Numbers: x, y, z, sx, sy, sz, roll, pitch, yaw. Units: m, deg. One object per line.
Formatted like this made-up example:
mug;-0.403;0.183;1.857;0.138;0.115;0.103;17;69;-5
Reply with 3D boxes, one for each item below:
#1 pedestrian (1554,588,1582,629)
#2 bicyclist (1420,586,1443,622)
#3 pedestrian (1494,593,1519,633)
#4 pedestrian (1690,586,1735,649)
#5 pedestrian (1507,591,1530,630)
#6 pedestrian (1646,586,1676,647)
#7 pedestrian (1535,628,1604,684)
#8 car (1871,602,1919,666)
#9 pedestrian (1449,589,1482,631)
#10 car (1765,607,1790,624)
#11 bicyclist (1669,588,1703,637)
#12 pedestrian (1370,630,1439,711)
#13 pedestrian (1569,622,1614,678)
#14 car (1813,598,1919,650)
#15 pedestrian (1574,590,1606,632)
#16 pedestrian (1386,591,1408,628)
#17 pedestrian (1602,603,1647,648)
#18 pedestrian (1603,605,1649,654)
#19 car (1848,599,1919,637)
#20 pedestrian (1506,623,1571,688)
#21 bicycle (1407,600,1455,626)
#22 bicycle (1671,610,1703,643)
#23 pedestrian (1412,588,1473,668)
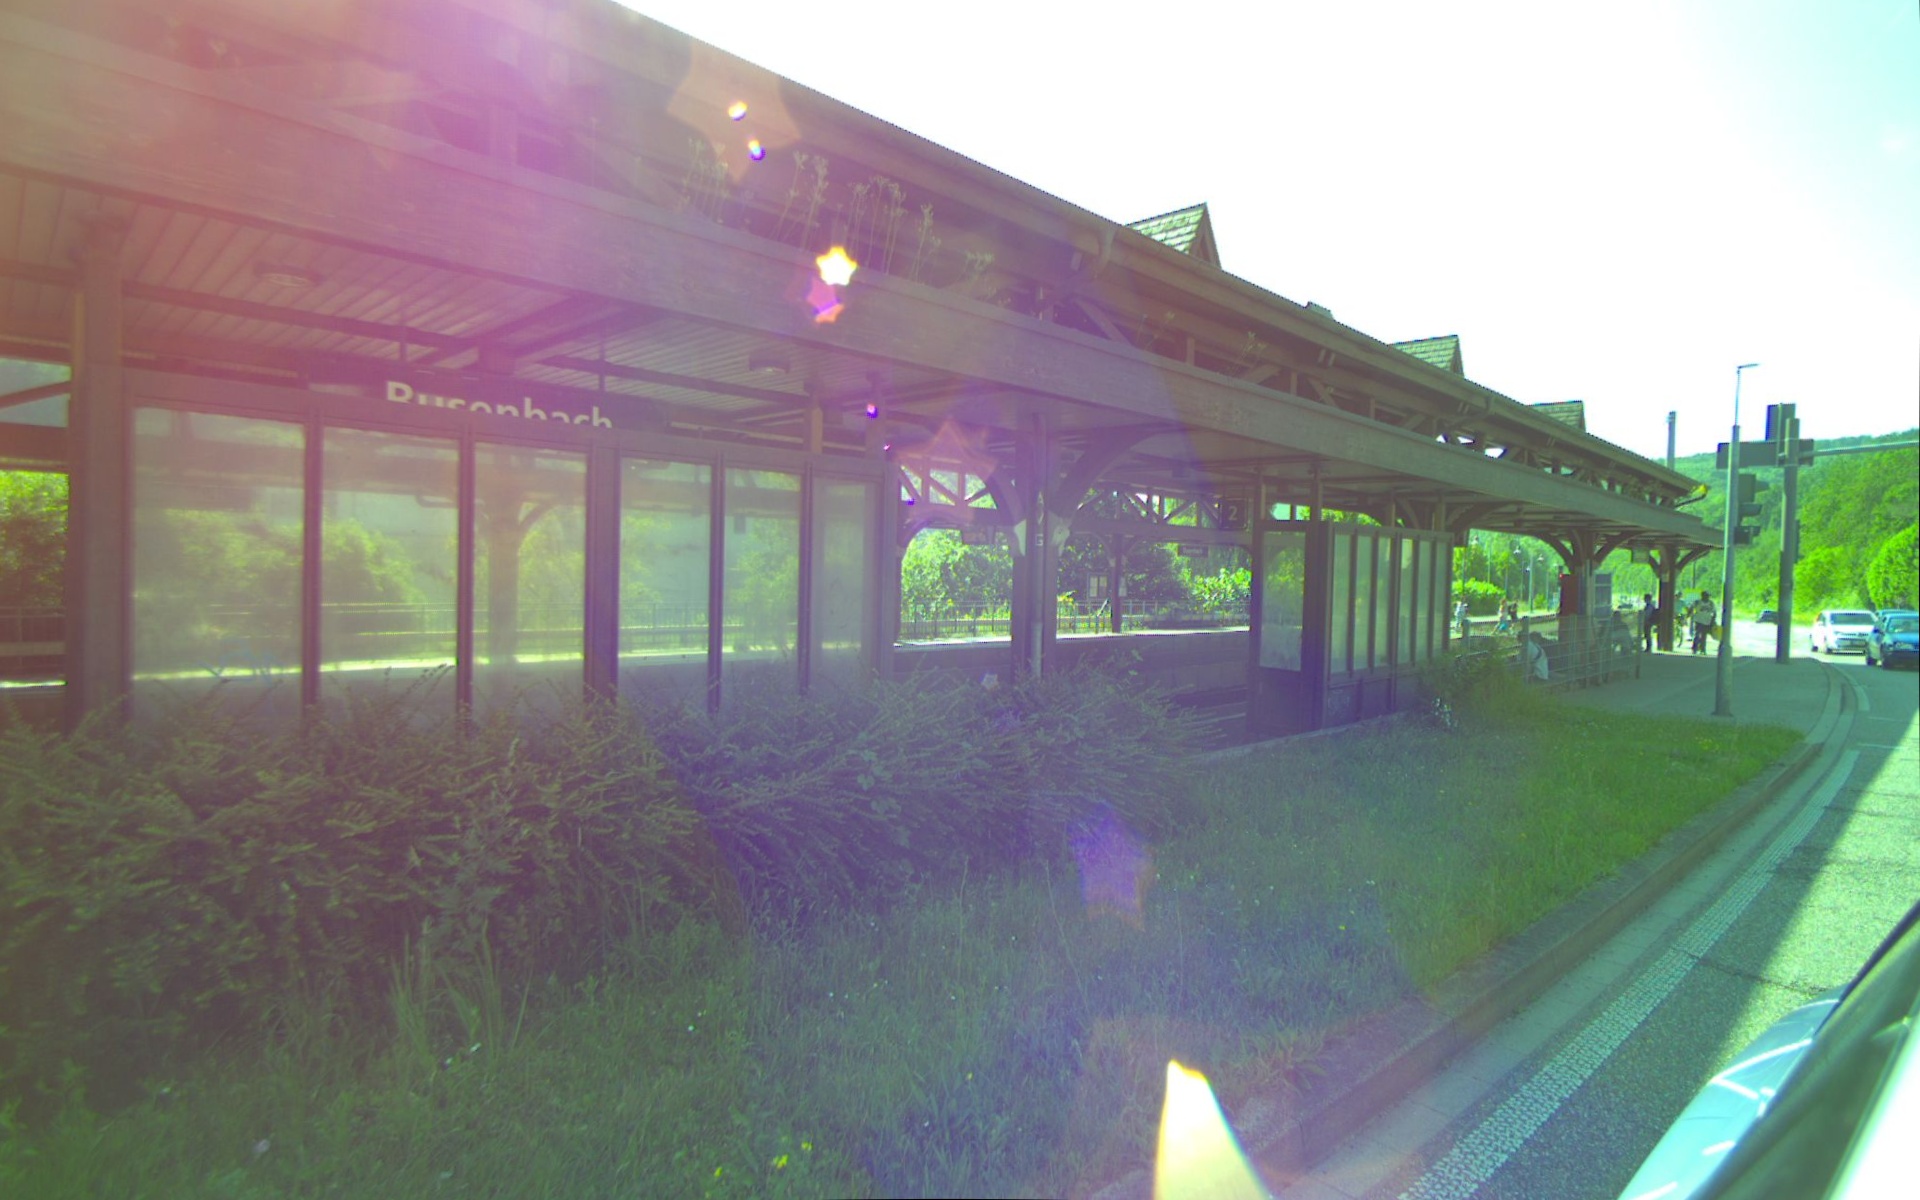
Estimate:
pedestrian;26.108;0.373;43.458;0.864;1.706;0.810;-1;-2;42
bicyclist;22.258;0.187;47.804;0.893;1.706;0.816;0;-2;22
pedestrian;23.892;0.573;44.277;0.894;1.706;0.815;0;-2;26
pedestrian;21.668;0.517;29.149;0.913;1.759;1.232;-1;-2;42
pedestrian;24.999;0.482;45.301;0.669;1.706;0.560;1;-2;-20
pedestrian;20.165;0.469;29.120;0.655;1.713;0.730;1;1;35
pedestrian;10.129;0.916;16.821;0.844;0.885;0.795;-1;-2;42
car;24.758;0.839;25.701;1.854;1.501;4.248;2;1;35
pedestrian;22.922;0.453;45.891;1.054;1.867;0.989;3;-2;-42
car;84.672;1.635;104.821;1.990;1.772;3.942;-1;-2;40
bicyclist;24.087;0.412;33.606;0.780;1.589;0.937;-1;-1;30
pedestrian;6.427;1.001;14.638;0.741;1.131;0.657;-1;-2;42
pedestrian;11.226;0.878;18.001;0.616;0.978;0.400;-1;-2;42
car;30.267;0.774;33.861;1.984;1.605;3.955;-1;-1;31
pedestrian;26.394;0.465;42.435;0.809;1.706;0.901;0;-2;8
pedestrian;20.033;0.443;46.389;0.894;1.706;1.114;0;-2;26
pedestrian;18.059;0.671;27.507;1.003;1.174;0.937;1;0;35
pedestrian;17.415;0.767;26.462;0.988;1.251;0.589;-1;-2;36
car;39.769;0.778;43.295;1.965;1.523;3.941;0;-1;31
pedestrian;9.126;0.861;15.955;0.741;0.995;0.757;-1;-2;42
bicycle;22.236;0.613;47.845;1.997;1.224;0.704;0;-2;23
bicycle;24.112;0.856;33.586;0.598;1.069;1.796;-1;-1;27
pedestrian;9.909;0.564;20.789;0.860;1.567;0.908;1;-1;43
